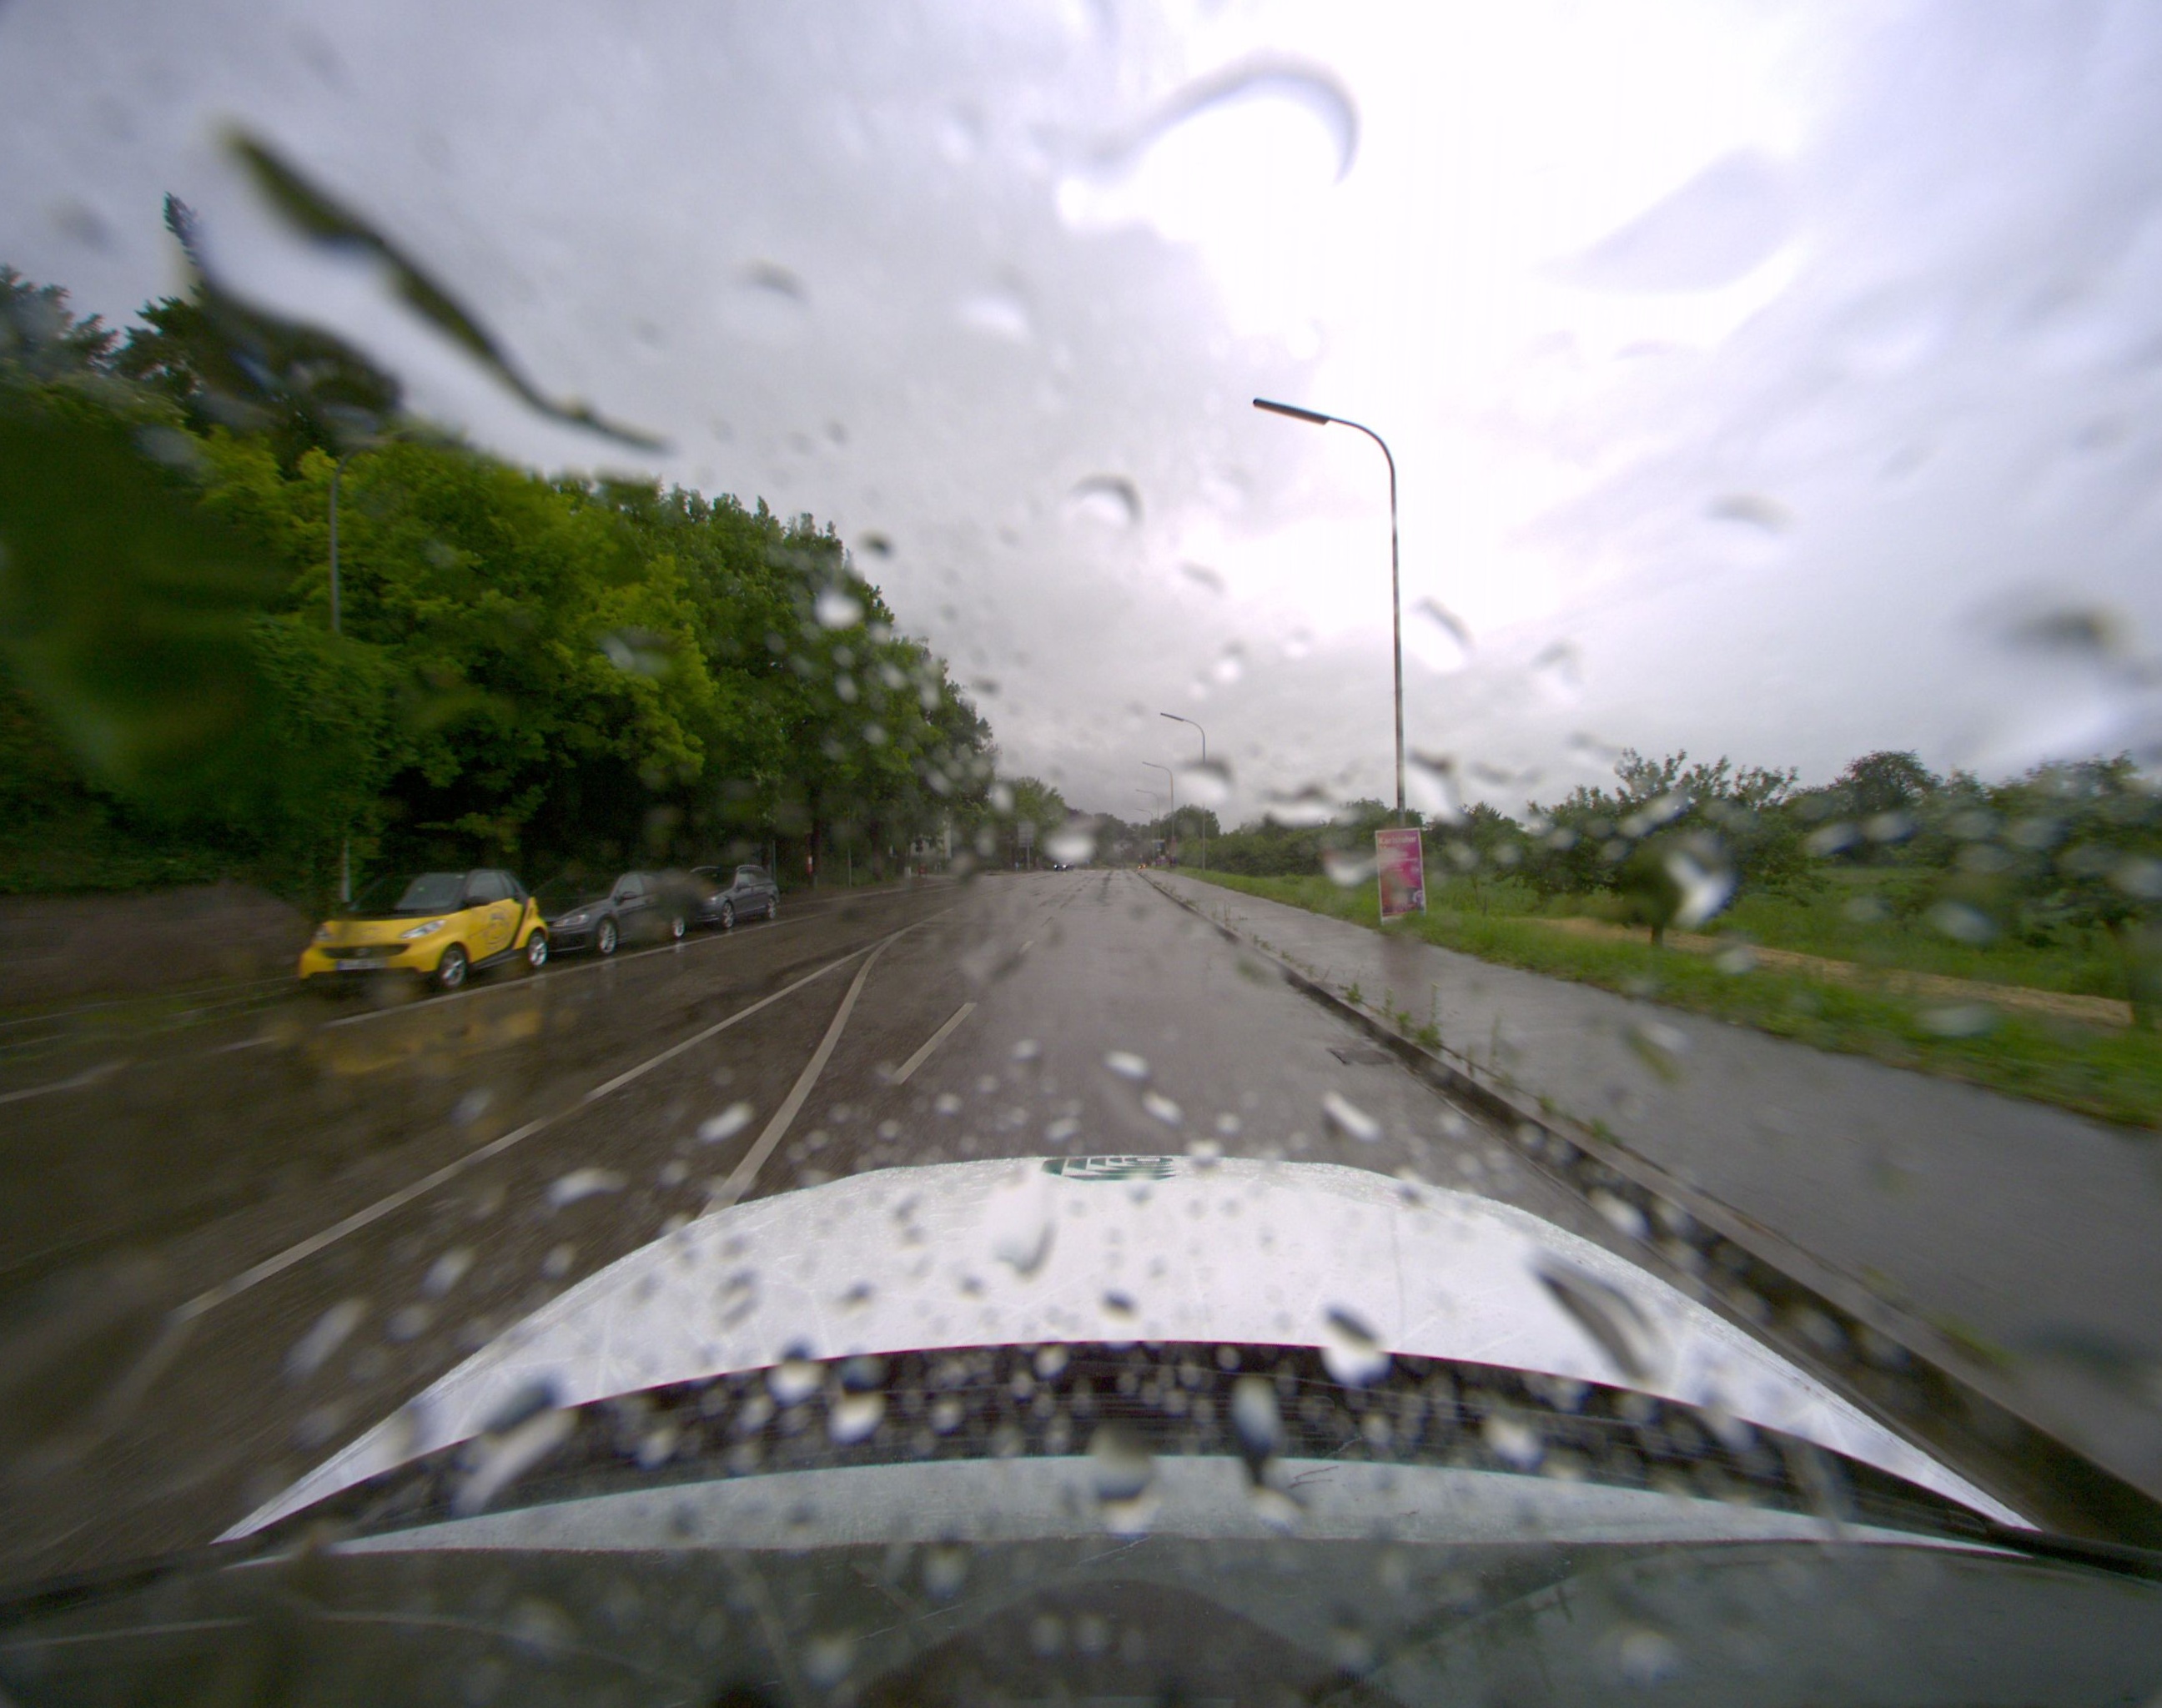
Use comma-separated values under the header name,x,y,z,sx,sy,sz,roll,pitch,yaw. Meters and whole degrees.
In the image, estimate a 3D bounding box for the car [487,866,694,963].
name,x,y,z,sx,sy,sz,roll,pitch,yaw
car,-8.572,0.969,14.678,1.430,1.419,4.098,-2,0,-4

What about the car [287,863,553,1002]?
name,x,y,z,sx,sy,sz,roll,pitch,yaw
car,-8.534,0.909,10.812,1.432,1.537,2.812,-2,0,-8

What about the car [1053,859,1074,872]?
name,x,y,z,sx,sy,sz,roll,pitch,yaw
car,-2.564,1.703,119.337,1.780,1.762,4.018,-1,0,17

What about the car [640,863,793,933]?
name,x,y,z,sx,sy,sz,roll,pitch,yaw
car,-8.759,0.979,20.072,1.682,1.419,4.739,-2,0,-1
